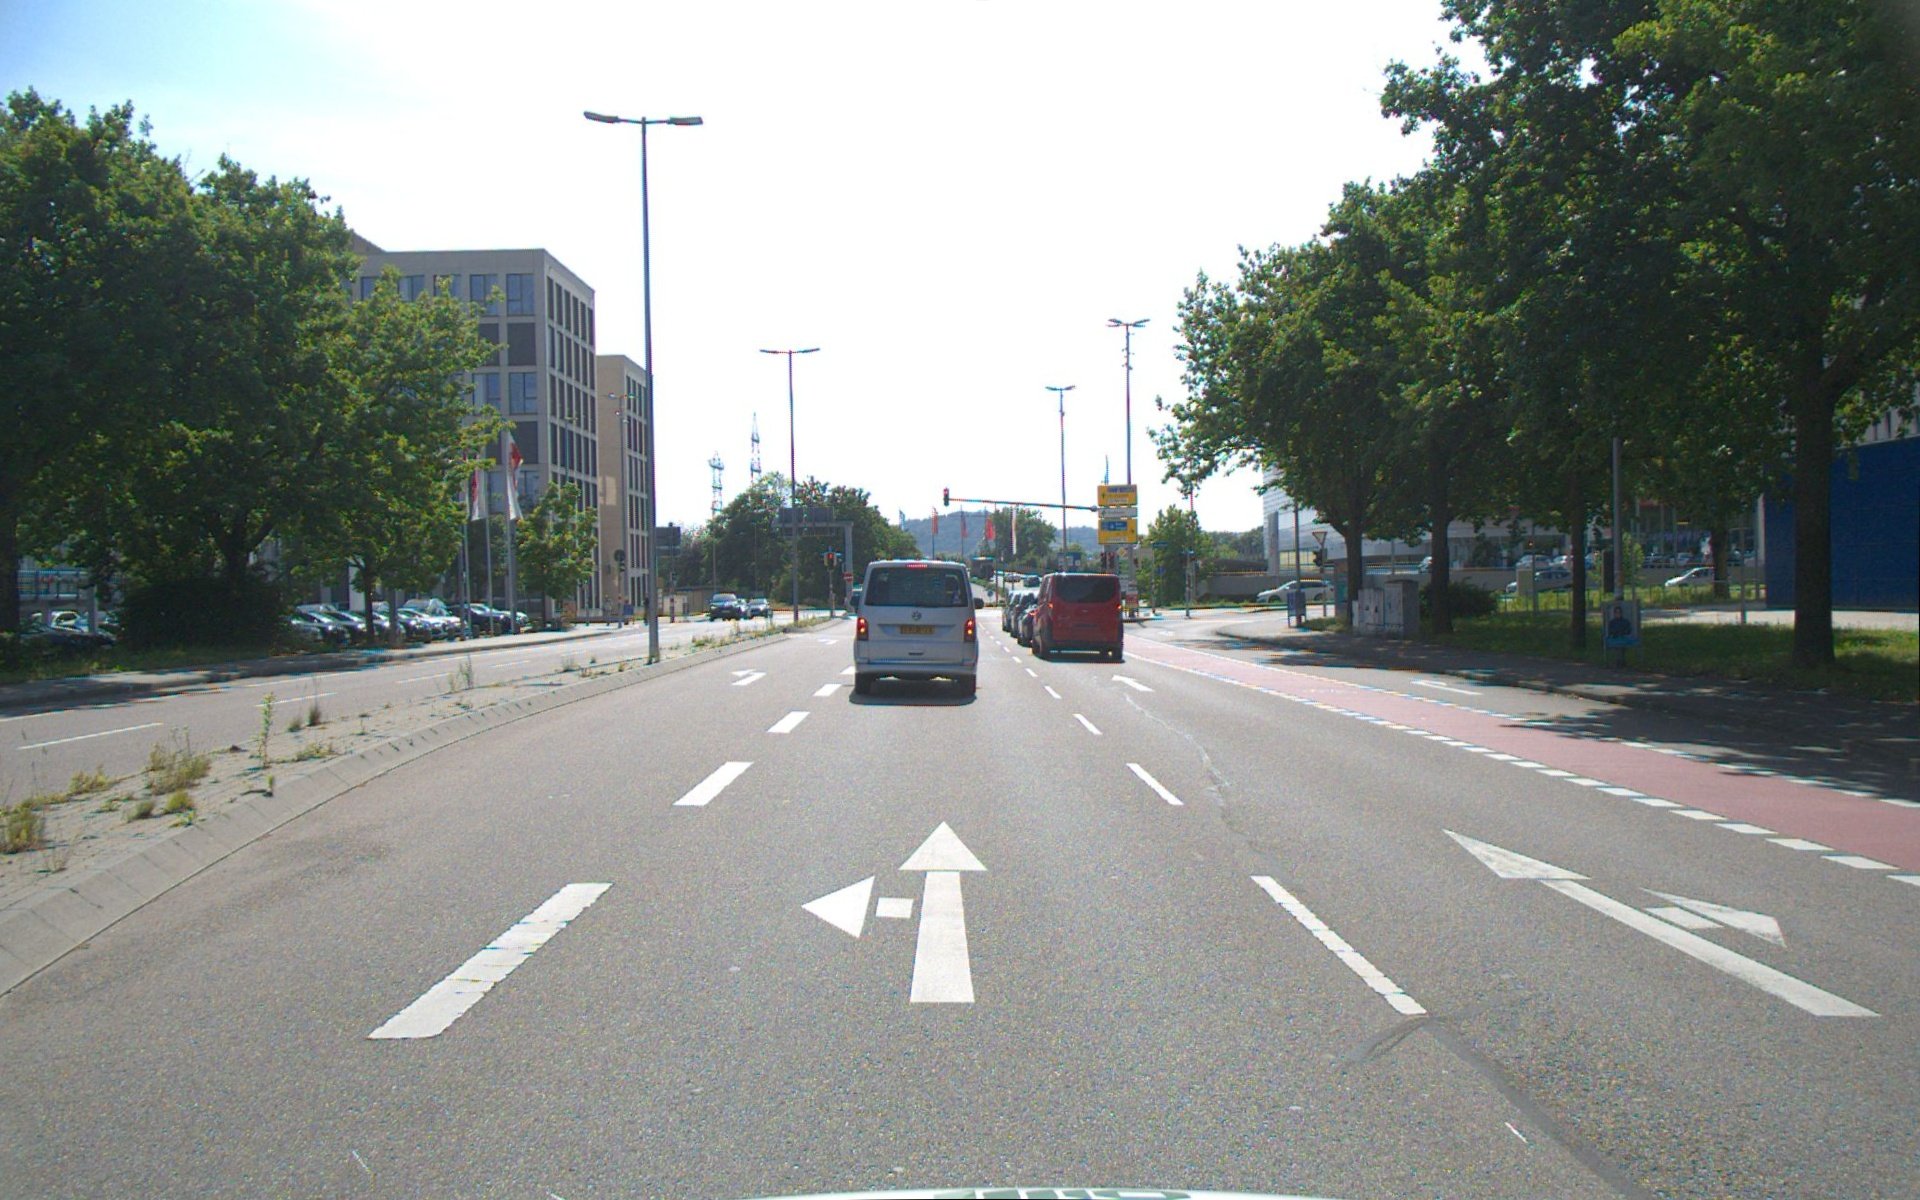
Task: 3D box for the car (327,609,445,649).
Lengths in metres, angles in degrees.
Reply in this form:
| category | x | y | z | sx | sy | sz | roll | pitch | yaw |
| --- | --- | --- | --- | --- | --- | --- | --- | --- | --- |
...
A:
| category | x | y | z | sx | sy | sz | roll | pitch | yaw |
| --- | --- | --- | --- | --- | --- | --- | --- | --- | --- |
| car | -22.228 | 1.115 | 64.181 | 3.794 | 1.186 | 1.912 | -5 | 1 | 3 |

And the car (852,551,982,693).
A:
| category | x | y | z | sx | sy | sz | roll | pitch | yaw |
| --- | --- | --- | --- | --- | --- | --- | --- | --- | --- |
| car | -0.635 | 0.303 | 25.596 | 1.846 | 2.025 | 3.999 | 0 | 0 | -1 |

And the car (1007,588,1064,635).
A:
| category | x | y | z | sx | sy | sz | roll | pitch | yaw |
| --- | --- | --- | --- | --- | --- | --- | --- | --- | --- |
| car | 2.589 | 0.367 | 57.441 | 1.711 | 1.543 | 4.077 | 0 | 0 | -1 |

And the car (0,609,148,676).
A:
| category | x | y | z | sx | sy | sz | roll | pitch | yaw |
| --- | --- | --- | --- | --- | --- | --- | --- | --- | --- |
| car | -22.953 | 1.108 | 41.636 | 3.907 | 1.382 | 2.000 | -5 | 0 | 0 |

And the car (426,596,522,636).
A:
| category | x | y | z | sx | sy | sz | roll | pitch | yaw |
| --- | --- | --- | --- | --- | --- | --- | --- | --- | --- |
| car | -22.719 | 0.743 | 77.393 | 3.795 | 1.490 | 1.868 | -5 | 1 | 1 |

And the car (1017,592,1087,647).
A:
| category | x | y | z | sx | sy | sz | roll | pitch | yaw |
| --- | --- | --- | --- | --- | --- | --- | --- | --- | --- |
| car | 2.591 | 0.525 | 47.401 | 1.711 | 1.484 | 4.475 | 0 | 0 | -1 |

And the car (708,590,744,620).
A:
| category | x | y | z | sx | sy | sz | roll | pitch | yaw |
| --- | --- | --- | --- | --- | --- | --- | --- | --- | --- |
| car | -14.144 | 0.265 | 100.176 | 1.704 | 1.646 | 4.207 | -4 | 0 | -3 |

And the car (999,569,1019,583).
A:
| category | x | y | z | sx | sy | sz | roll | pitch | yaw |
| --- | --- | --- | --- | --- | --- | --- | --- | --- | --- |
| car | 7.501 | -3.693 | 253.593 | 1.961 | 2.049 | 3.983 | 0 | 0 | -16 |

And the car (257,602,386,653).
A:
| category | x | y | z | sx | sy | sz | roll | pitch | yaw |
| --- | --- | --- | --- | --- | --- | --- | --- | --- | --- |
| car | -22.492 | 0.959 | 58.320 | 3.794 | 1.444 | 1.660 | -5 | 1 | 3 |

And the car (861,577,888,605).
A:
| category | x | y | z | sx | sy | sz | roll | pitch | yaw |
| --- | --- | --- | --- | --- | --- | --- | --- | --- | --- |
| car | -8.588 | -0.897 | 165.309 | 2.358 | 2.605 | 6.888 | -1 | 0 | -5 |

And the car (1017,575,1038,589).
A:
| category | x | y | z | sx | sy | sz | roll | pitch | yaw |
| --- | --- | --- | --- | --- | --- | --- | --- | --- | --- |
| car | 9.877 | -2.595 | 241.249 | 1.961 | 2.049 | 3.983 | 0 | 0 | -16 |

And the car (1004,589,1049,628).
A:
| category | x | y | z | sx | sy | sz | roll | pitch | yaw |
| --- | --- | --- | --- | --- | --- | --- | --- | --- | --- |
| car | 2.549 | 0.306 | 64.464 | 1.546 | 1.483 | 3.785 | 0 | 0 | -1 |

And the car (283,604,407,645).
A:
| category | x | y | z | sx | sy | sz | roll | pitch | yaw |
| --- | --- | --- | --- | --- | --- | --- | --- | --- | --- |
| car | -22.716 | 0.891 | 61.170 | 3.794 | 1.173 | 1.796 | -5 | 1 | 3 |

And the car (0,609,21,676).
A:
| category | x | y | z | sx | sy | sz | roll | pitch | yaw |
| --- | --- | --- | --- | --- | --- | --- | --- | --- | --- |
| car | -23.200 | 1.114 | 36.190 | 4.056 | 1.467 | 2.000 | -5 | 0 | 0 |

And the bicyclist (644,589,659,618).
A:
| category | x | y | z | sx | sy | sz | roll | pitch | yaw |
| --- | --- | --- | --- | --- | --- | --- | --- | --- | --- |
| bicyclist | -17.046 | 0.204 | 91.424 | 0.606 | 1.553 | 1.036 | -2 | 0 | 0 |

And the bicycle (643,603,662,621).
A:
| category | x | y | z | sx | sy | sz | roll | pitch | yaw |
| --- | --- | --- | --- | --- | --- | --- | --- | --- | --- |
| bicycle | -17.039 | 0.642 | 91.694 | 0.666 | 0.957 | 1.973 | -2 | 0 | 0 |

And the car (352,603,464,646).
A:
| category | x | y | z | sx | sy | sz | roll | pitch | yaw |
| --- | --- | --- | --- | --- | --- | --- | --- | --- | --- |
| car | -22.374 | 0.989 | 67.071 | 3.794 | 1.356 | 1.849 | -5 | 1 | 3 |

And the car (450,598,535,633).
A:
| category | x | y | z | sx | sy | sz | roll | pitch | yaw |
| --- | --- | --- | --- | --- | --- | --- | --- | --- | --- |
| car | -22.578 | 0.737 | 79.967 | 3.521 | 1.381 | 1.640 | -5 | 1 | 0 |

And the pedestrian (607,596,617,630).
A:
| category | x | y | z | sx | sy | sz | roll | pitch | yaw |
| --- | --- | --- | --- | --- | --- | --- | --- | --- | --- |
| pedestrian | -21.023 | 0.771 | 99.992 | 0.548 | 2.049 | 0.575 | 0 | 0 | -9 |

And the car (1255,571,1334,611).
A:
| category | x | y | z | sx | sy | sz | roll | pitch | yaw |
| --- | --- | --- | --- | --- | --- | --- | --- | --- | --- |
| car | 19.504 | -0.553 | 96.536 | 4.310 | 2.029 | 1.482 | -4 | 0 | 4 |

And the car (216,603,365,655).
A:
| category | x | y | z | sx | sy | sz | roll | pitch | yaw |
| --- | --- | --- | --- | --- | --- | --- | --- | --- | --- |
| car | -22.465 | 0.954 | 55.589 | 4.080 | 1.354 | 2.038 | -5 | 1 | 3 |

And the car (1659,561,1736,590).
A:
| category | x | y | z | sx | sy | sz | roll | pitch | yaw |
| --- | --- | --- | --- | --- | --- | --- | --- | --- | --- |
| car | 45.722 | -1.510 | 102.605 | 4.046 | 1.545 | 1.482 | -4 | 0 | 4 |

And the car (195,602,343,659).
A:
| category | x | y | z | sx | sy | sz | roll | pitch | yaw |
| --- | --- | --- | --- | --- | --- | --- | --- | --- | --- |
| car | -22.087 | 0.964 | 52.956 | 3.794 | 1.444 | 1.912 | -5 | 1 | 3 |

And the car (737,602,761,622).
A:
| category | x | y | z | sx | sy | sz | roll | pitch | yaw |
| --- | --- | --- | --- | --- | --- | --- | --- | --- | --- |
| car | -16.467 | 0.917 | 129.229 | 1.545 | 1.434 | 4.377 | -1 | 0 | -3 |

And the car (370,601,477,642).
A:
| category | x | y | z | sx | sy | sz | roll | pitch | yaw |
| --- | --- | --- | --- | --- | --- | --- | --- | --- | --- |
| car | -22.515 | 0.898 | 69.450 | 3.794 | 1.388 | 1.749 | -5 | 1 | 3 |

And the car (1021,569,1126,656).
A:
| category | x | y | z | sx | sy | sz | roll | pitch | yaw |
| --- | --- | --- | --- | --- | --- | --- | --- | --- | --- |
| car | 2.702 | 0.267 | 40.610 | 1.928 | 2.002 | 5.122 | 0 | 0 | -3 |

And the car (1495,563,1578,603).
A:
| category | x | y | z | sx | sy | sz | roll | pitch | yaw |
| --- | --- | --- | --- | --- | --- | --- | --- | --- | --- |
| car | 34.064 | -0.998 | 97.815 | 4.310 | 2.029 | 1.482 | -4 | 0 | 4 |
